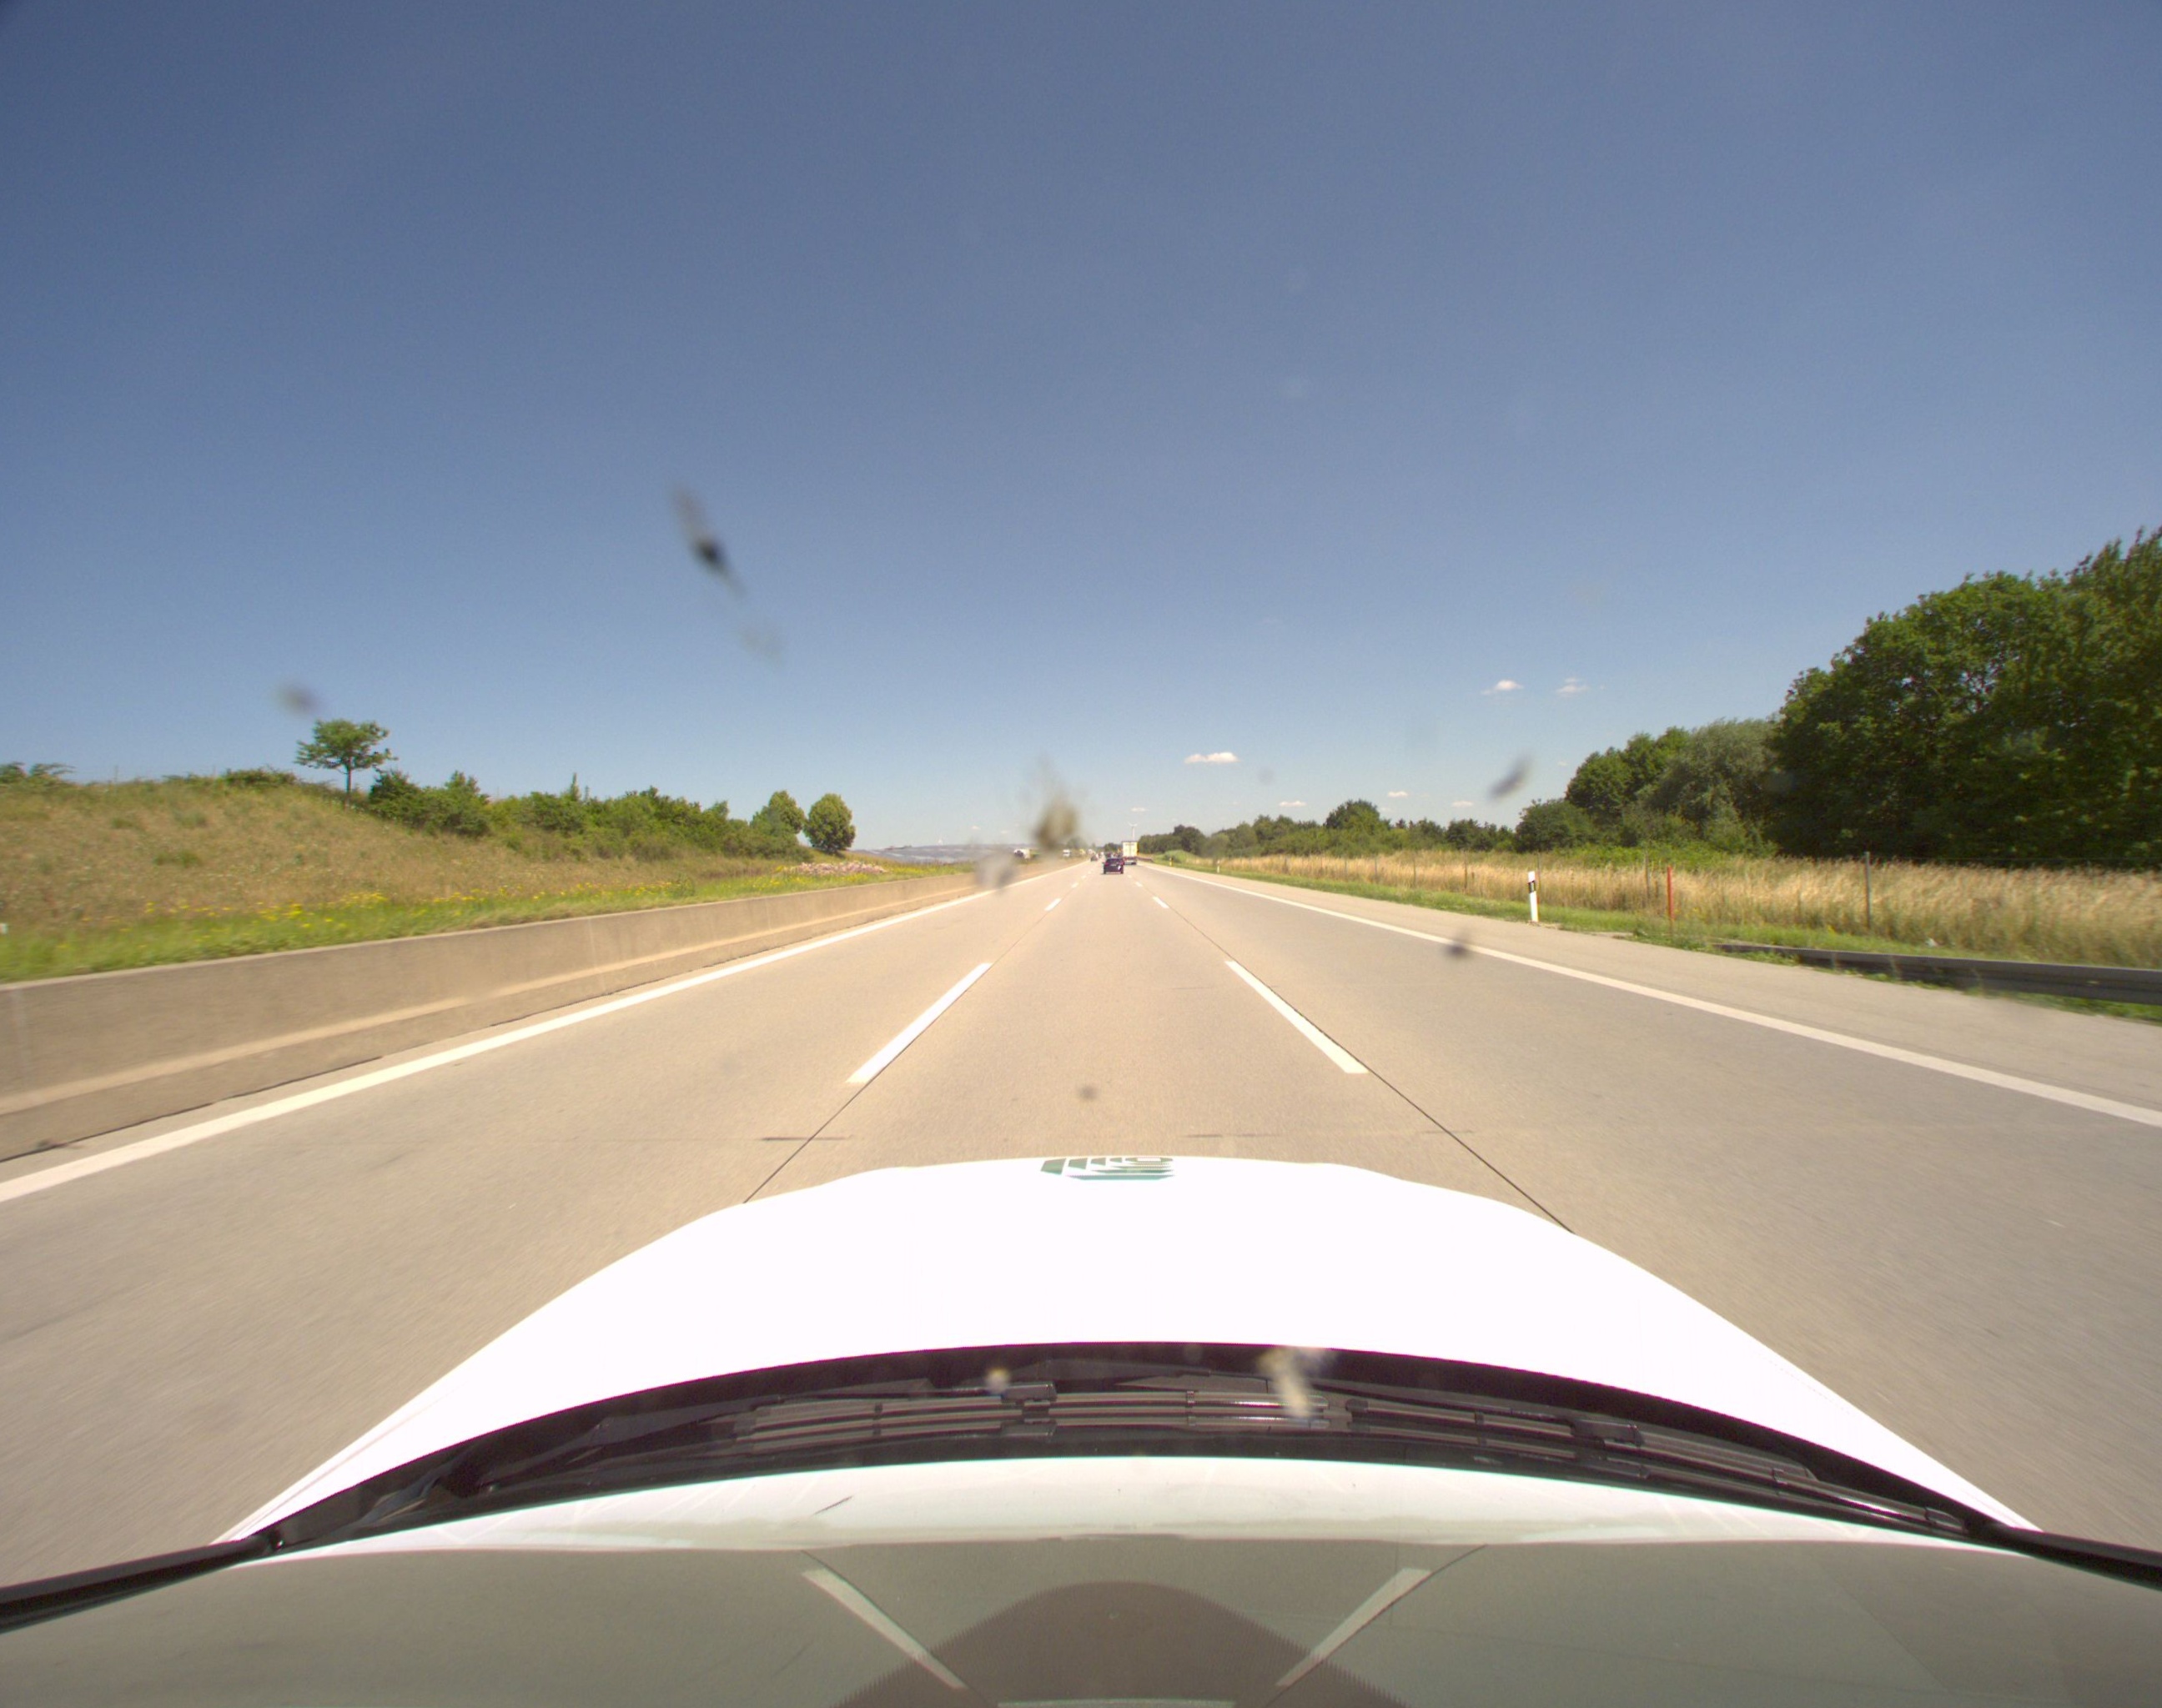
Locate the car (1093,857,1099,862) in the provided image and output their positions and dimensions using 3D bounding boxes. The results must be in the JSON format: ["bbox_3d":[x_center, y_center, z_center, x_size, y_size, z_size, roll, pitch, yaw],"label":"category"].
[{"bbox_3d":[4.030,1.428,217.766,1.649,1.196,3.962,2,0,2],"label":"car"}]

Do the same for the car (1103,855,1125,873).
[{"bbox_3d":[2.905,0.874,72.415,1.903,1.492,4.193,0,0,1],"label":"car"}]

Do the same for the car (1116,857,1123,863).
[{"bbox_3d":[11.886,1.834,249.510,1.818,1.907,4.006,-1,0,5],"label":"car"}]

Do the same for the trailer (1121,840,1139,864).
[{"bbox_3d":[8.512,-0.332,142.863,2.842,4.042,12.718,0,0,2],"label":"trailer"}]

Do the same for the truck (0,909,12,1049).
[{"bbox_3d":[-14.930,1.633,8.922,1.652,1.816,3.581,-1,0,2],"label":"truck"}]
